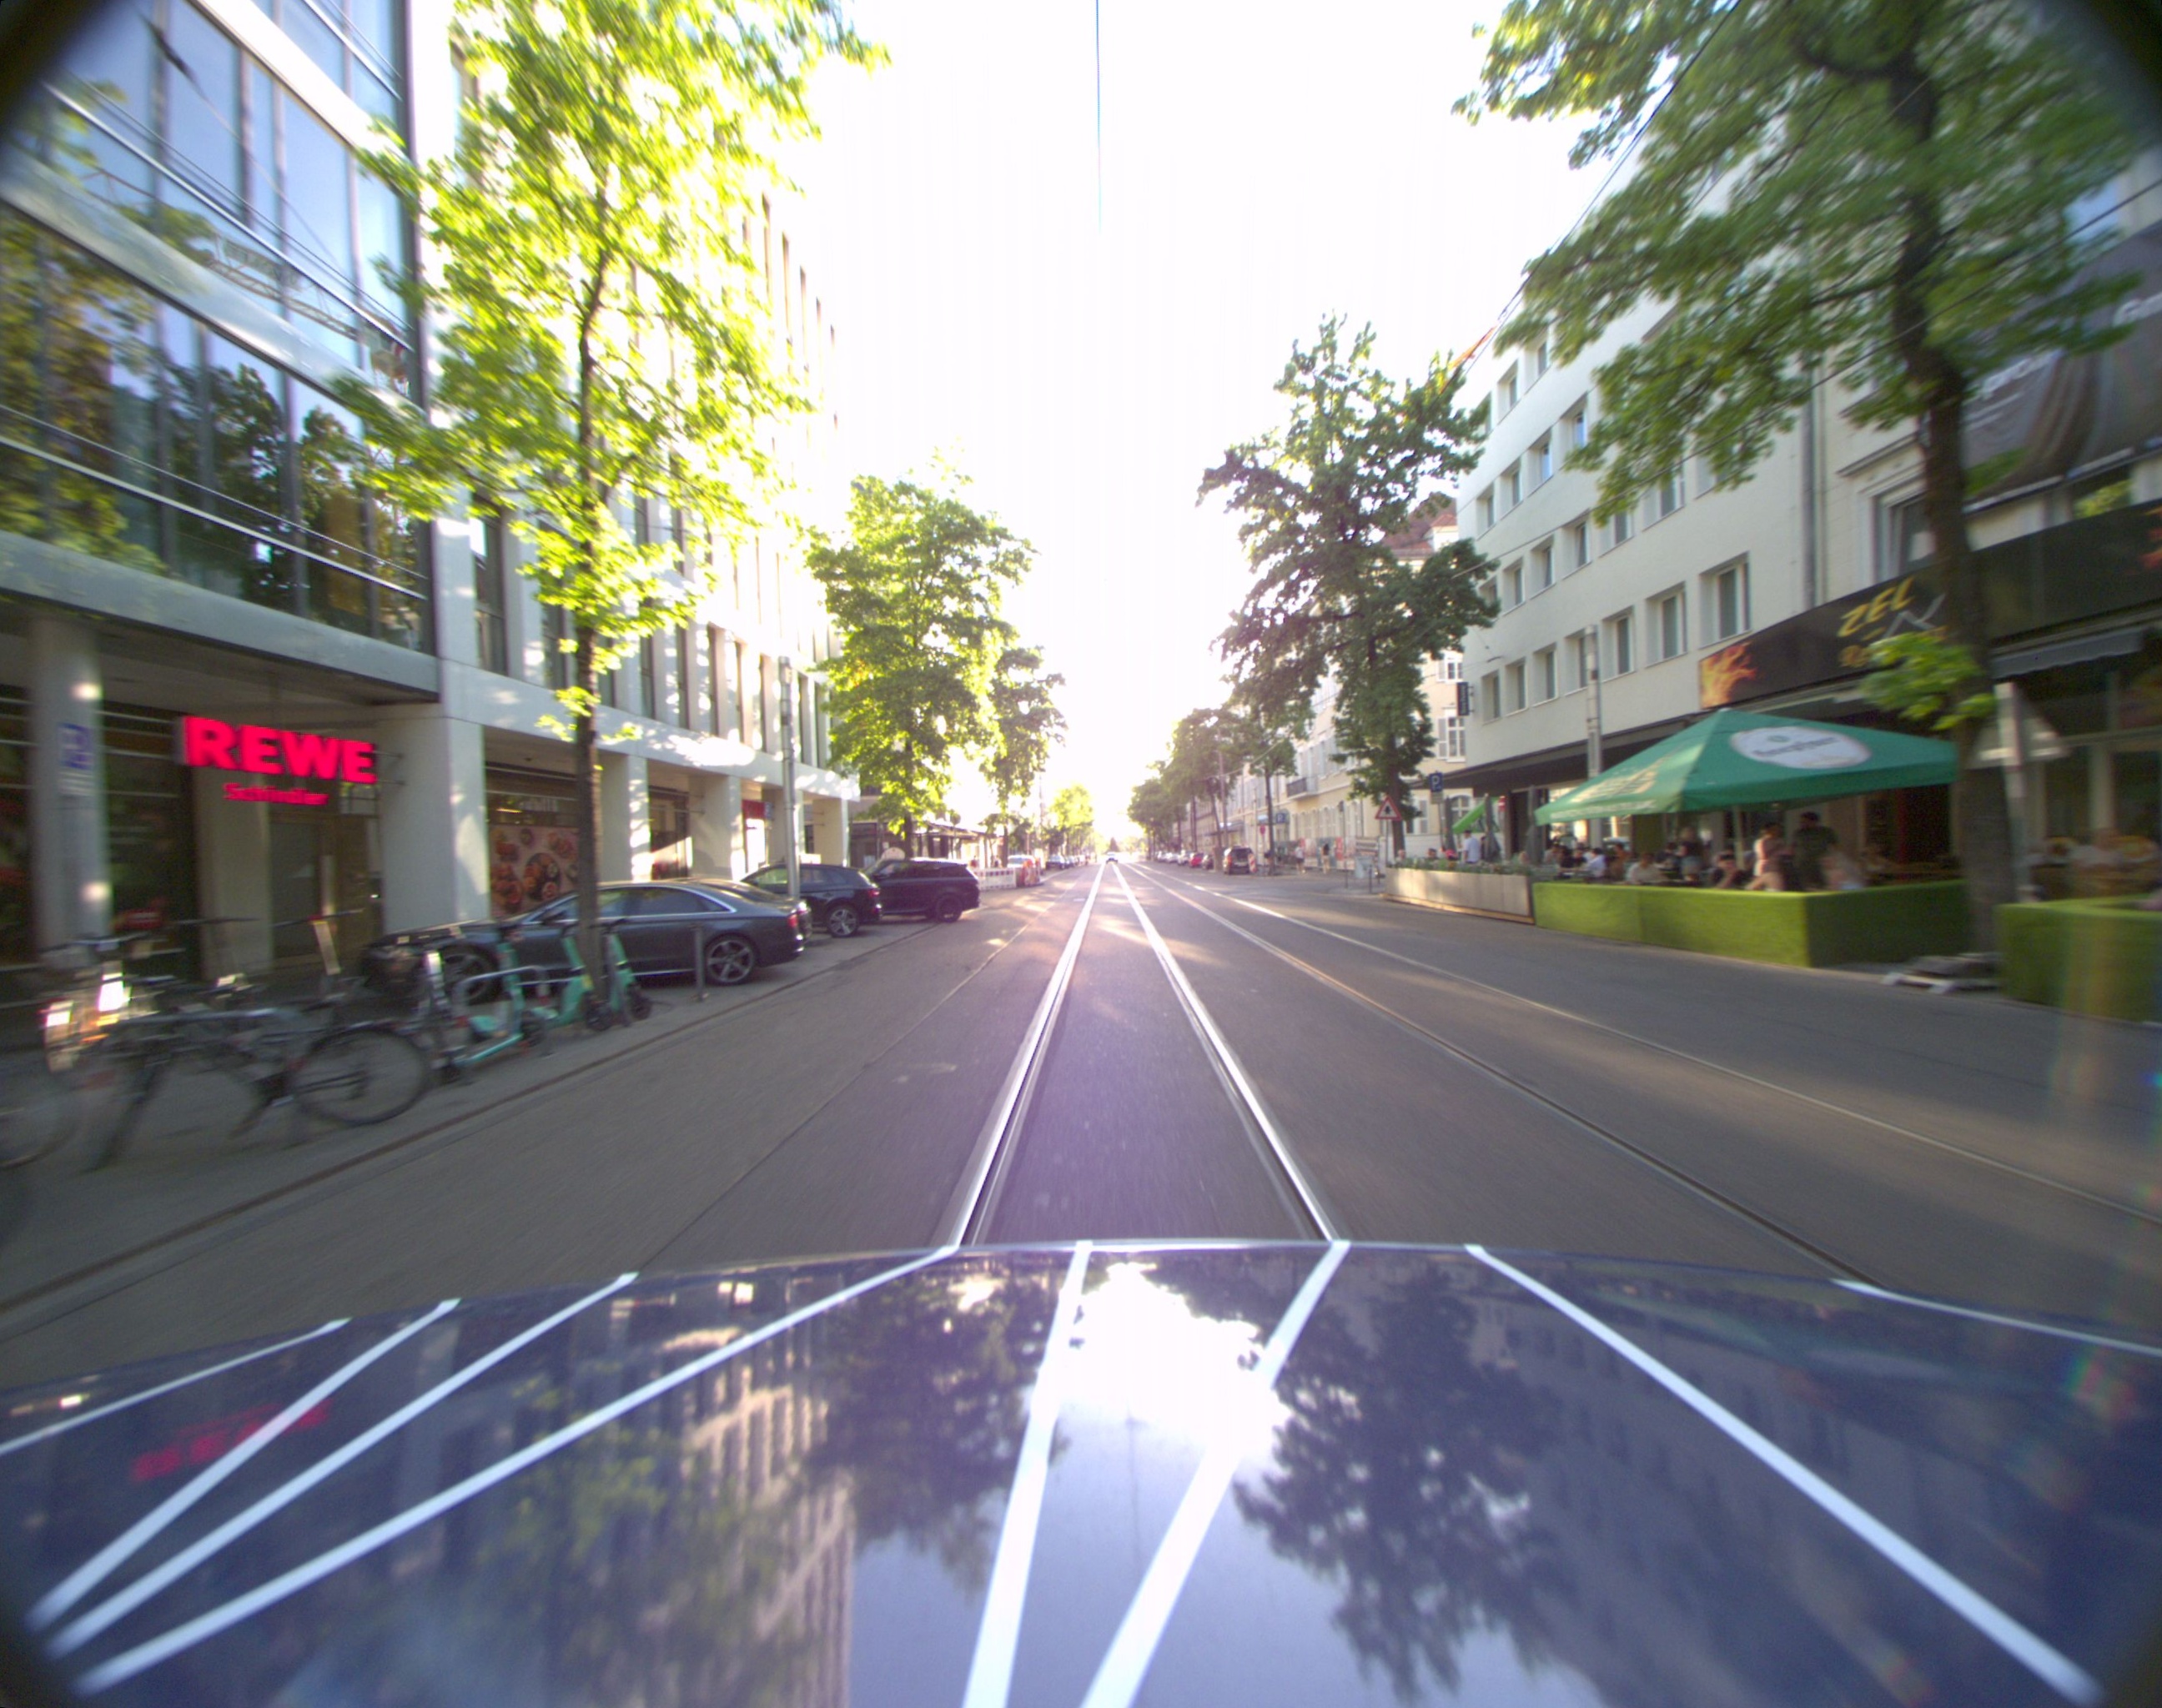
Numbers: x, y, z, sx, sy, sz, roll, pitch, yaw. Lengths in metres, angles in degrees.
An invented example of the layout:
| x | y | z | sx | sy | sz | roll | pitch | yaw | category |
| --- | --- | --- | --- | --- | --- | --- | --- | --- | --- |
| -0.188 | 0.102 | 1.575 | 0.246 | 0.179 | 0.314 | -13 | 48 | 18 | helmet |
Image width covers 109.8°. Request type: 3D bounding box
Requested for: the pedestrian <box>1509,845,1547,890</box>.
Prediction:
| x | y | z | sx | sy | sz | roll | pitch | yaw | category |
| --- | --- | --- | --- | --- | --- | --- | --- | --- | --- |
| 13.129 | 0.392 | 22.319 | 0.628 | 1.274 | 0.727 | -4 | 1 | 3 | pedestrian |

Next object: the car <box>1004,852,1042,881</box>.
| x | y | z | sx | sy | sz | roll | pitch | yaw | category |
| --- | --- | --- | --- | --- | --- | --- | --- | --- | --- |
| -3.678 | 0.752 | 48.785 | 2.028 | 1.727 | 4.906 | 1 | 0 | 1 | car |

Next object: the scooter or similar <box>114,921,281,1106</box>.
| x | y | z | sx | sy | sz | roll | pitch | yaw | category |
| --- | --- | --- | --- | --- | --- | --- | --- | --- | --- |
| -7.736 | 1.312 | 6.735 | 0.564 | 1.286 | 1.676 | 0 | 0 | -35 | scooter or similar |

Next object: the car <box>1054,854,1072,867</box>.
| x | y | z | sx | sy | sz | roll | pitch | yaw | category |
| --- | --- | --- | --- | --- | --- | --- | --- | --- | --- |
| -2.175 | 0.728 | 92.927 | 1.871 | 1.502 | 4.242 | 0 | 0 | -6 | car |

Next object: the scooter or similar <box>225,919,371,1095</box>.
| x | y | z | sx | sy | sz | roll | pitch | yaw | category |
| --- | --- | --- | --- | --- | --- | --- | --- | --- | --- |
| -7.189 | 1.320 | 7.058 | 0.633 | 1.286 | 1.676 | 0 | 0 | -35 | scooter or similar |

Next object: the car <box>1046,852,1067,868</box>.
| x | y | z | sx | sy | sz | roll | pitch | yaw | category |
| --- | --- | --- | --- | --- | --- | --- | --- | --- | --- |
| -2.715 | 0.657 | 85.087 | 1.985 | 1.679 | 4.874 | 1 | 0 | 2 | car |

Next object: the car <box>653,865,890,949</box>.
| x | y | z | sx | sy | sz | roll | pitch | yaw | category |
| --- | --- | --- | --- | --- | --- | --- | --- | --- | --- |
| -6.822 | 1.087 | 17.103 | 4.672 | 1.645 | 2.005 | 0 | 0 | -22 | car |

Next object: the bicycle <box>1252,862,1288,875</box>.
| x | y | z | sx | sy | sz | roll | pitch | yaw | category |
| --- | --- | --- | --- | --- | --- | --- | --- | --- | --- |
| 10.624 | 0.798 | 42.736 | 1.799 | 0.605 | 1.282 | -3 | 0 | 5 | bicycle |

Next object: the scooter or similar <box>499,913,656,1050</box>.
| x | y | z | sx | sy | sz | roll | pitch | yaw | category |
| --- | --- | --- | --- | --- | --- | --- | --- | --- | --- |
| -5.386 | 1.312 | 8.182 | 0.457 | 1.269 | 1.310 | 2 | 1 | 39 | scooter or similar |

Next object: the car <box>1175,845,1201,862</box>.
| x | y | z | sx | sy | sz | roll | pitch | yaw | category |
| --- | --- | --- | --- | --- | --- | --- | --- | --- | --- |
| 11.719 | -0.051 | 83.413 | 1.870 | 1.679 | 4.950 | -5 | 0 | -1 | car |

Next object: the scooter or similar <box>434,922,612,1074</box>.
| x | y | z | sx | sy | sz | roll | pitch | yaw | category |
| --- | --- | --- | --- | --- | --- | --- | --- | --- | --- |
| -5.321 | 1.335 | 7.339 | 1.309 | 1.269 | 0.563 | 1 | 1 | -29 | scooter or similar |

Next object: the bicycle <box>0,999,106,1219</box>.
| x | y | z | sx | sy | sz | roll | pitch | yaw | category |
| --- | --- | --- | --- | --- | --- | --- | --- | --- | --- |
| -6.722 | 1.430 | 4.067 | 1.677 | 1.068 | 0.731 | 1 | -1 | -28 | bicycle |

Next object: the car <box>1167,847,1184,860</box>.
| x | y | z | sx | sy | sz | roll | pitch | yaw | category |
| --- | --- | --- | --- | --- | --- | --- | --- | --- | --- |
| 12.605 | -0.077 | 101.628 | 1.897 | 1.458 | 4.617 | -5 | 0 | 3 | car |

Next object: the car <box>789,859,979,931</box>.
| x | y | z | sx | sy | sz | roll | pitch | yaw | category |
| --- | --- | --- | --- | --- | --- | --- | --- | --- | --- |
| -5.318 | 1.026 | 20.626 | 4.674 | 1.753 | 1.990 | 0 | 1 | -27 | car |

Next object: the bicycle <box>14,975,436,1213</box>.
| x | y | z | sx | sy | sz | roll | pitch | yaw | category |
| --- | --- | --- | --- | --- | --- | --- | --- | --- | --- |
| -5.245 | 1.413 | 4.843 | 1.566 | 1.082 | 0.867 | 1 | -1 | -28 | bicycle |

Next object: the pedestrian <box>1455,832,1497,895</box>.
| x | y | z | sx | sy | sz | roll | pitch | yaw | category |
| --- | --- | --- | --- | --- | --- | --- | --- | --- | --- |
| 11.653 | 0.271 | 22.444 | 0.759 | 1.781 | 0.686 | -4 | 1 | -2 | pedestrian |

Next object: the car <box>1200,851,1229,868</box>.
| x | y | z | sx | sy | sz | roll | pitch | yaw | category |
| --- | --- | --- | --- | --- | --- | --- | --- | --- | --- |
| 11.305 | 0.439 | 64.804 | 1.722 | 1.238 | 4.508 | -5 | 0 | 2 | car |

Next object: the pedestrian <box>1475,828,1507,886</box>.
| x | y | z | sx | sy | sz | roll | pitch | yaw | category |
| --- | --- | --- | --- | --- | --- | --- | --- | --- | --- |
| 13.134 | 0.098 | 24.346 | 0.685 | 1.805 | 0.765 | -4 | 1 | 17 | pedestrian |

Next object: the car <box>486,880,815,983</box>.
| x | y | z | sx | sy | sz | roll | pitch | yaw | category |
| --- | --- | --- | --- | --- | --- | --- | --- | --- | --- |
| -7.115 | 1.236 | 13.205 | 4.671 | 1.417 | 1.931 | 0 | 1 | -19 | car |

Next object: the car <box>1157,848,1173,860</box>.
| x | y | z | sx | sy | sz | roll | pitch | yaw | category |
| --- | --- | --- | --- | --- | --- | --- | --- | --- | --- |
| 13.378 | -0.022 | 121.078 | 1.952 | 1.731 | 4.766 | -5 | 0 | 2 | car |

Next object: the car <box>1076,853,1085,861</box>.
| x | y | z | sx | sy | sz | roll | pitch | yaw | category |
| --- | --- | --- | --- | --- | --- | --- | --- | --- | --- |
| -0.111 | 0.540 | 143.803 | 1.563 | 1.391 | 3.698 | 1 | 0 | 2 | car |

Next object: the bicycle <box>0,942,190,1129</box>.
| x | y | z | sx | sy | sz | roll | pitch | yaw | category |
| --- | --- | --- | --- | --- | --- | --- | --- | --- | --- |
| -8.216 | 1.406 | 6.277 | 0.628 | 1.124 | 1.884 | 0 | 0 | -34 | bicycle |

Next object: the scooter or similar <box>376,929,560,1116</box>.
| x | y | z | sx | sy | sz | roll | pitch | yaw | category |
| --- | --- | --- | --- | --- | --- | --- | --- | --- | --- |
| -5.082 | 1.337 | 6.394 | 0.452 | 1.269 | 1.307 | 2 | 1 | 1 | scooter or similar |

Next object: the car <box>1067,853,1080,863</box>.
| x | y | z | sx | sy | sz | roll | pitch | yaw | category |
| --- | --- | --- | --- | --- | --- | --- | --- | --- | --- |
| -1.155 | 0.587 | 119.744 | 1.798 | 1.502 | 3.986 | 1 | 0 | 2 | car |

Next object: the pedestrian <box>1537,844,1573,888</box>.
| x | y | z | sx | sy | sz | roll | pitch | yaw | category |
| --- | --- | --- | --- | --- | --- | --- | --- | --- | --- |
| 13.771 | 0.332 | 22.098 | 0.553 | 1.228 | 0.687 | -4 | 1 | 3 | pedestrian |

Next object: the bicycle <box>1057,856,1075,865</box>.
| x | y | z | sx | sy | sz | roll | pitch | yaw | category |
| --- | --- | --- | --- | --- | --- | --- | --- | --- | --- |
| -1.959 | 0.839 | 99.398 | 2.325 | 1.181 | 0.751 | -2 | 1 | 3 | bicycle |

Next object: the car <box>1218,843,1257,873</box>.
| x | y | z | sx | sy | sz | roll | pitch | yaw | category |
| --- | --- | --- | --- | --- | --- | --- | --- | --- | --- |
| 10.518 | 0.255 | 51.280 | 1.862 | 1.821 | 4.560 | -3 | 0 | 4 | car |

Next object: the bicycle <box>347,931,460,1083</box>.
| x | y | z | sx | sy | sz | roll | pitch | yaw | category |
| --- | --- | --- | --- | --- | --- | --- | --- | --- | --- |
| -6.517 | 1.398 | 7.383 | 0.553 | 1.101 | 1.845 | 0 | 0 | -33 | bicycle |

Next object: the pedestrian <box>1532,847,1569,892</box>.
| x | y | z | sx | sy | sz | roll | pitch | yaw | category |
| --- | --- | --- | --- | --- | --- | --- | --- | --- | --- |
| 13.150 | 0.427 | 21.310 | 0.553 | 1.228 | 0.687 | -4 | 1 | 3 | pedestrian |

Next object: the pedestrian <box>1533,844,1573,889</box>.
| x | y | z | sx | sy | sz | roll | pitch | yaw | category |
| --- | --- | --- | --- | --- | --- | --- | --- | --- | --- |
| 13.787 | 0.349 | 22.216 | 0.646 | 1.262 | 0.739 | -4 | 1 | 3 | pedestrian |

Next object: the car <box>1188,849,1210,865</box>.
| x | y | z | sx | sy | sz | roll | pitch | yaw | category |
| --- | --- | --- | --- | --- | --- | --- | --- | --- | --- |
| 11.413 | 0.282 | 73.645 | 1.664 | 1.397 | 4.141 | -5 | 0 | 3 | car |

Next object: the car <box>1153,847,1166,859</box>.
| x | y | z | sx | sy | sz | roll | pitch | yaw | category |
| --- | --- | --- | --- | --- | --- | --- | --- | --- | --- |
| 14.111 | -0.157 | 135.938 | 1.931 | 1.946 | 4.766 | -1 | 0 | 2 | car |

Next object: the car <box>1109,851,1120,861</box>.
| x | y | z | sx | sy | sz | roll | pitch | yaw | category |
| --- | --- | --- | --- | --- | --- | --- | --- | --- | --- |
| 5.684 | 0.297 | 128.595 | 1.827 | 1.603 | 3.796 | -2 | 0 | 3 | car |

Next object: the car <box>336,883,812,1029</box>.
| x | y | z | sx | sy | sz | roll | pitch | yaw | category |
| --- | --- | --- | --- | --- | --- | --- | --- | --- | --- |
| -6.606 | 1.202 | 10.568 | 5.070 | 1.460 | 1.972 | 1 | 0 | -34 | car |
